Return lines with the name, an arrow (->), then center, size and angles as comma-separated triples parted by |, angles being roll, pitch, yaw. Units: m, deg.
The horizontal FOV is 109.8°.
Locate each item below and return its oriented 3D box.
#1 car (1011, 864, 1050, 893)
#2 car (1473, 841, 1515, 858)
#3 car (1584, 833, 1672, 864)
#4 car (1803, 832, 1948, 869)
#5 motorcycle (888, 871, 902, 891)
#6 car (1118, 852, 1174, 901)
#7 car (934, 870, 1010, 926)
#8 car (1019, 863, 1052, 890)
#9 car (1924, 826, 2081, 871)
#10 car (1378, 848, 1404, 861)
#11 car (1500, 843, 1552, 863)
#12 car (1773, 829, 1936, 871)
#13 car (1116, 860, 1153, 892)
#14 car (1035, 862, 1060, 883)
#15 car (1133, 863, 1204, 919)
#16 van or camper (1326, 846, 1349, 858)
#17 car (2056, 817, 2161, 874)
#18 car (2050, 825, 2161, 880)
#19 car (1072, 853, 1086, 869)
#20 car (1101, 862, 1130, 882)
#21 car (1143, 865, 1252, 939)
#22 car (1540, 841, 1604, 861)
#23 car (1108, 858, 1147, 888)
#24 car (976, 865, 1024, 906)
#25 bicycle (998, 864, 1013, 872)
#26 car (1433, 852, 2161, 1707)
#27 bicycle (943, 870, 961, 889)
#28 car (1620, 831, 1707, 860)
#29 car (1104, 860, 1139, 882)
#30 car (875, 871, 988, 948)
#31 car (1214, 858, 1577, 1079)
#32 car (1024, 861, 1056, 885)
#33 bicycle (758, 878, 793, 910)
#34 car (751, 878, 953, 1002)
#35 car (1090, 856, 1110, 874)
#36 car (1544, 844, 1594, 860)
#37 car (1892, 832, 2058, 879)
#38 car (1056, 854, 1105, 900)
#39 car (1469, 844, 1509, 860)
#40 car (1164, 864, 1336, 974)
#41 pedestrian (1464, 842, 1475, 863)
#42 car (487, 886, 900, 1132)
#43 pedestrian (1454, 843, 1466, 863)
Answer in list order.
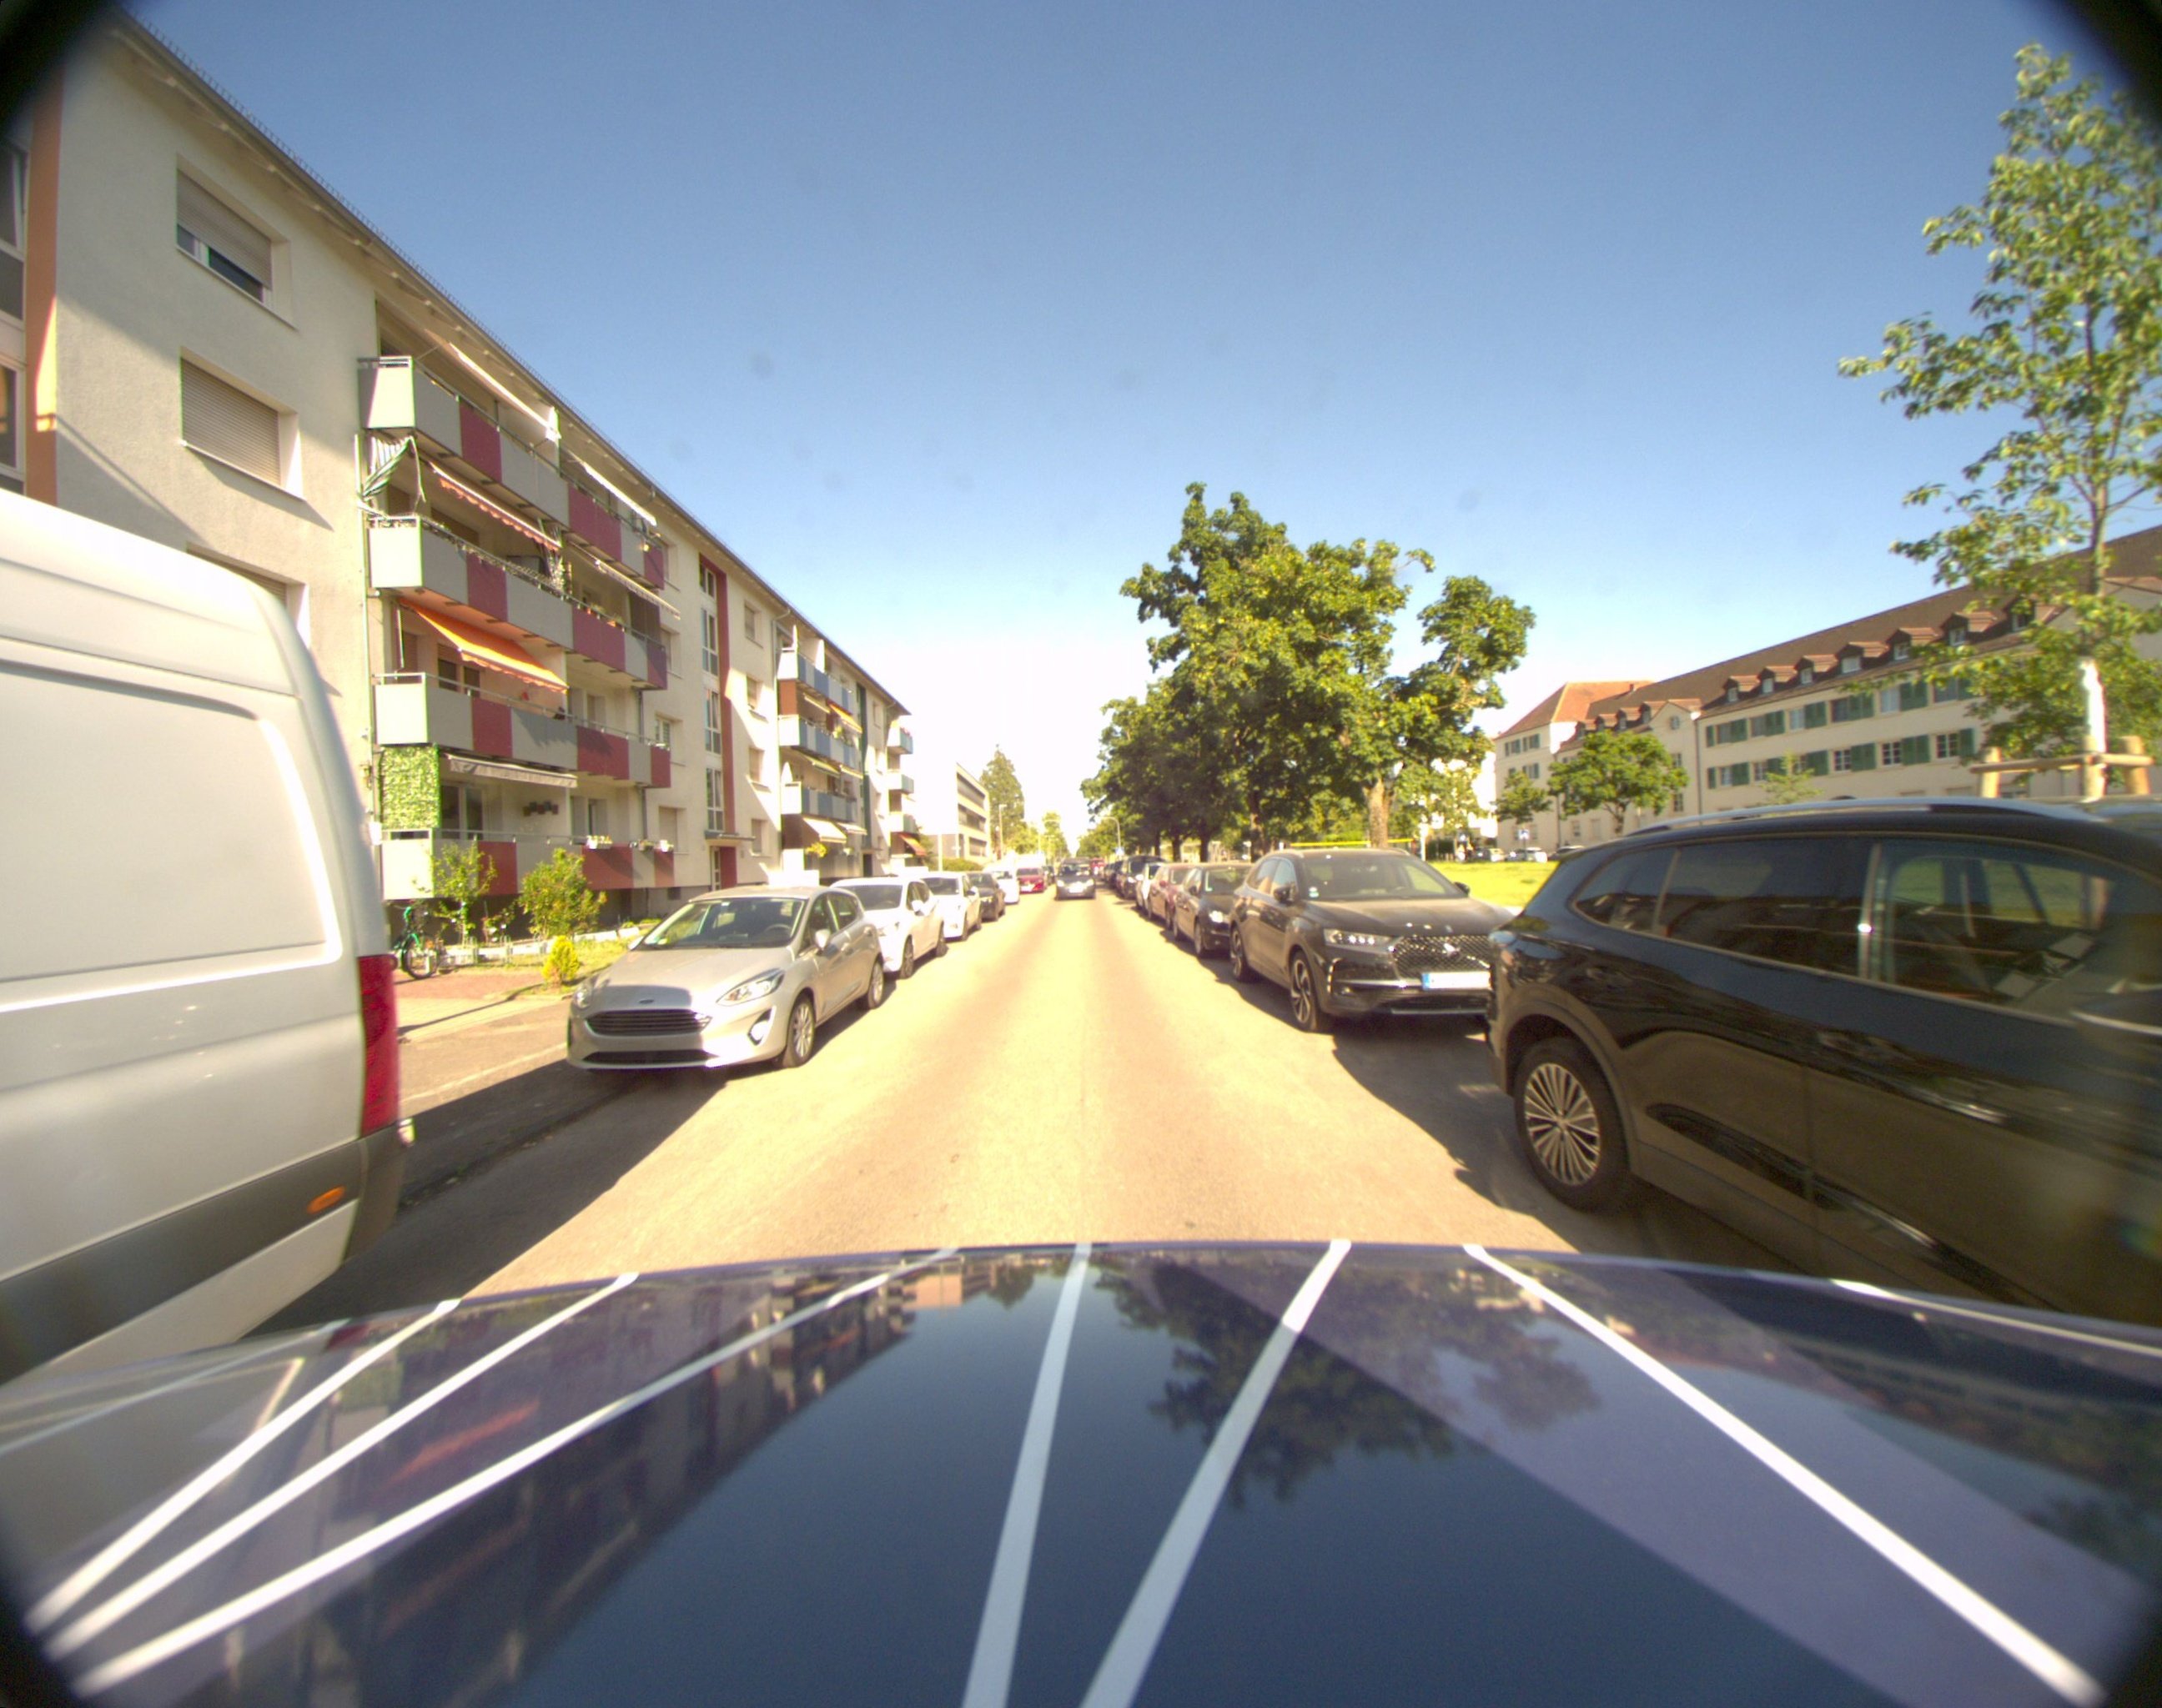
car -> -2.772, 1.320, 42.477 | 1.848, 1.464, 5.065 | -2, 0, -1
car -> 49.876, -0.547, 91.786 | 3.812, 1.944, 2.043 | -2, 0, 2
car -> 37.547, -0.346, 52.370 | 2.226, 1.973, 5.258 | -2, 0, 0
car -> 43.178, -0.153, 41.552 | 2.456, 1.809, 5.258 | -2, 0, 1
motorcycle -> -11.175, 1.601, 45.752 | 0.584, 1.144, 2.036 | -2, 0, -9
car -> 2.592, 0.858, 31.406 | 1.869, 1.774, 4.991 | -2, 0, 0
car -> -3.168, 1.240, 22.862 | 1.704, 1.427, 4.471 | -1, 0, -1
car -> -2.879, 1.363, 48.138 | 1.878, 1.524, 4.492 | -2, 0, -3
car -> 43.162, -0.233, 35.768 | 2.269, 1.894, 4.166 | -2, 0, -1
car -> 42.438, 0.071, 104.063 | 1.955, 1.783, 4.000 | -2, 0, 1
car -> 37.205, -0.090, 63.643 | 1.793, 1.574, 4.235 | -2, 0, -1
car -> 37.592, -0.167, 37.215 | 2.456, 1.809, 5.454 | -2, 0, 1
car -> 2.587, 1.051, 37.495 | 1.542, 1.420, 4.088 | -2, 0, 1
car -> -2.580, 1.387, 58.794 | 1.663, 1.465, 3.793 | -4, 0, 0
car -> 2.508, 1.024, 22.600 | 1.590, 1.484, 3.685 | -1, 0, -1
van or camper -> 42.415, -0.338, 125.810 | 2.273, 2.002, 4.374 | -2, 0, 0
car -> 43.341, -0.360, 30.119 | 2.537, 2.203, 5.257 | -2, 0, -2
car -> 37.641, -0.076, 26.473 | 2.242, 1.809, 4.257 | -2, 0, -2
car -> -0.358, 1.168, 131.999 | 2.074, 2.583, 6.203 | -2, 0, 1
car -> 2.684, 1.366, 60.167 | 1.840, 1.443, 4.967 | -2, 0, -2
car -> 2.618, 1.027, 18.156 | 1.760, 1.483, 4.667 | -1, 0, -1
car -> 39.953, -0.234, 61.998 | 1.999, 1.476, 4.958 | -2, 0, -1
car -> 2.630, 1.044, 43.763 | 2.031, 1.616, 4.757 | -1, 0, 1
car -> -3.283, 1.253, 31.444 | 1.753, 1.490, 3.860 | -2, 0, -3
bicycle -> -10.189, 1.906, 102.623 | 2.030, 1.057, 0.883 | 1, 0, -1
car -> 2.879, 0.815, 1.867 | 1.847, 1.629, 4.715 | -1, 0, 0
bicycle -> -7.776, 1.549, 45.888 | 0.721, 1.071, 1.897 | -3, 0, 2
car -> 42.880, -0.579, 56.104 | 2.226, 1.973, 5.257 | -2, 0, -2
car -> 2.873, 1.196, 54.566 | 1.999, 1.507, 5.157 | -1, 0, -3
car -> -3.271, 1.174, 17.431 | 1.725, 1.427, 4.153 | -2, 0, 0
car -> 2.729, 0.852, 7.955 | 1.824, 1.600, 4.739 | -1, 0, 0
car -> -2.835, 1.325, 53.320 | 1.774, 1.520, 4.558 | -2, 0, 1
bicycle -> -11.251, 1.451, 28.063 | 0.524, 1.064, 2.009 | 0, 0, -1
car -> -3.354, 1.197, 12.055 | 1.882, 1.466, 4.140 | -2, 0, 0
car -> 2.199, 1.232, 86.415 | 2.021, 1.867, 4.741 | -2, 0, 4
car -> 42.756, -0.143, 66.642 | 1.773, 1.348, 4.000 | -2, 0, -1
car -> 37.615, 0.069, 32.157 | 2.323, 1.740, 4.009 | -2, 0, 1
car -> -0.037, 0.965, 32.623 | 1.903, 1.779, 4.157 | -2, -1, -1
car -> 36.999, -0.163, 68.989 | 1.654, 1.325, 3.514 | -2, 0, -1
car -> 2.641, 0.947, 12.986 | 1.878, 1.510, 4.470 | 0, 0, -1
pedestrian -> 32.431, -0.135, 63.443 | 0.544, 1.675, 0.674 | -2, 0, 5
car -> -3.178, 1.162, 7.369 | 1.854, 1.457, 4.201 | -3, 0, -1
pedestrian -> 31.698, -0.076, 63.521 | 0.545, 1.675, 0.750 | -2, 0, 2
